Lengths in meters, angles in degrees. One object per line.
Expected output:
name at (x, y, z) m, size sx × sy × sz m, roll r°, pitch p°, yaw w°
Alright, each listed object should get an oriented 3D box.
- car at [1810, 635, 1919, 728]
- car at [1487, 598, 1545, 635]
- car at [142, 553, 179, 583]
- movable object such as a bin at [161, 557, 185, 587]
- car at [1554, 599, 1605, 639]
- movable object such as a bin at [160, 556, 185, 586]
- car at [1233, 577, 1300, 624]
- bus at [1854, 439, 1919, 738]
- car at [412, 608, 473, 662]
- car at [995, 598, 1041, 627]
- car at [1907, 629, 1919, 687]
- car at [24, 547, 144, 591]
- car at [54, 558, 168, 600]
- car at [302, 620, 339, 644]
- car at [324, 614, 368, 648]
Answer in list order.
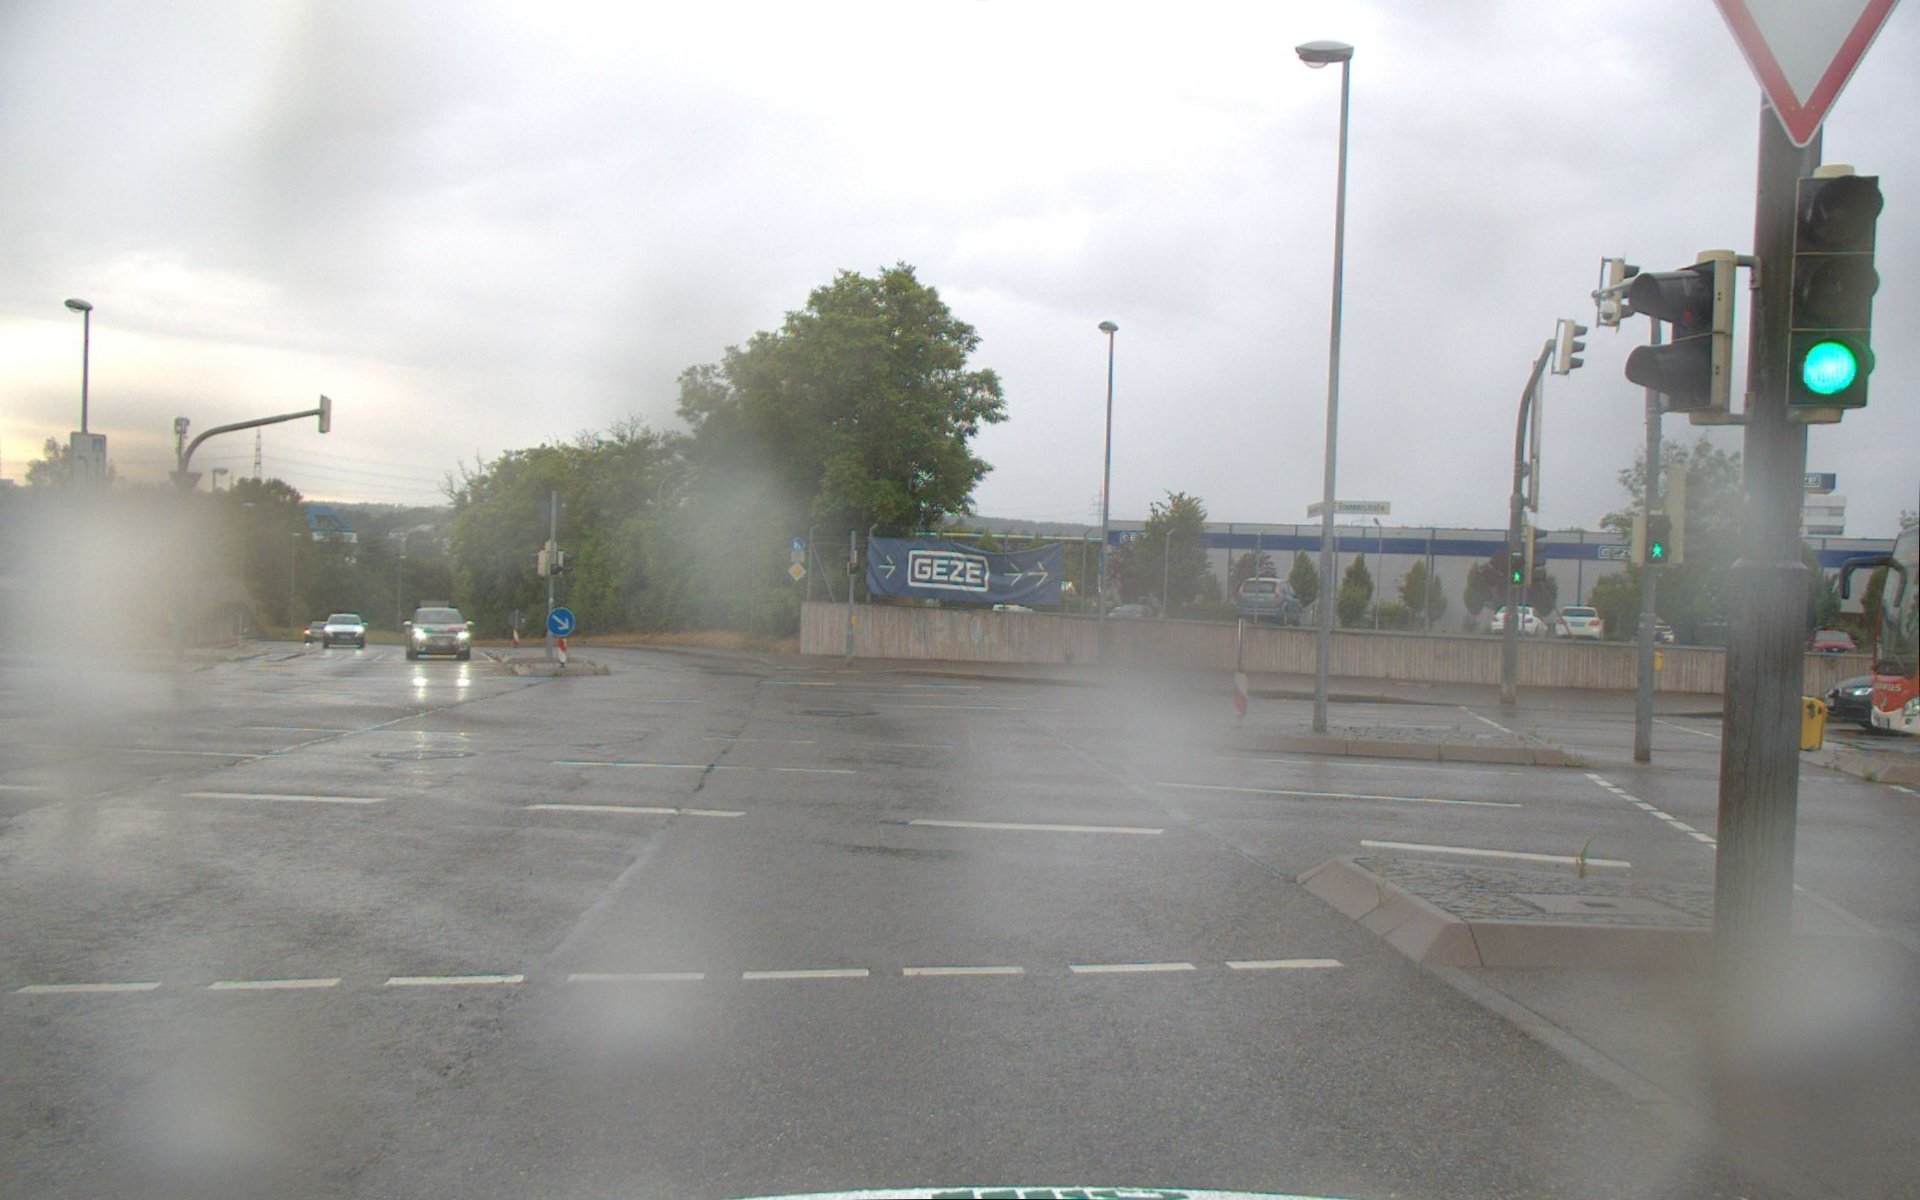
car at (16.217, 1.336, 26.532) m, size 4.286 × 1.378 × 1.827 m, roll 1°, pitch 0°, yaw 16°
car at (23.063, 0.704, 68.541) m, size 1.781 × 1.459 × 4.100 m, roll 1°, pitch -1°, yaw 25°
car at (-46.094, -1.825, 95.360) m, size 1.806 × 1.467 × 3.964 m, roll 3°, pitch -3°, yaw -27°
movable object such as a bin at (-40.936, -1.459, 86.019) m, size 1.071 × 1.462 × 1.434 m, roll 3°, pitch -3°, yaw -27°
car at (25.479, 0.784, 67.946) m, size 1.820 × 1.552 × 4.103 m, roll 1°, pitch -1°, yaw 22°
movable object such as a bin at (-41.586, -1.526, 87.322) m, size 1.071 × 1.462 × 1.434 m, roll 3°, pitch -3°, yaw -27°
car at (10.677, 0.038, 57.447) m, size 1.707 × 1.580 × 3.531 m, roll 1°, pitch -1°, yaw 20°
bus at (17.724, 0.163, 19.647) m, size 11.994 × 3.638 × 2.988 m, roll 3°, pitch 0°, yaw 17°
car at (-15.265, 1.014, 48.724) m, size 1.635 × 1.521 × 3.979 m, roll 1°, pitch -1°, yaw -18°
car at (3.381, 0.736, 95.790) m, size 1.632 × 1.634 × 3.531 m, roll 1°, pitch -1°, yaw 20°
car at (34.875, 2.079, 58.557) m, size 1.707 × 2.049 × 3.824 m, roll 1°, pitch -1°, yaw 20°
car at (-35.823, -1.262, 67.679) m, size 3.902 × 1.614 × 1.903 m, roll 1°, pitch -2°, yaw 8°
car at (-35.984, -0.894, 70.147) m, size 3.902 × 1.614 × 1.903 m, roll 1°, pitch -2°, yaw 12°
car at (-44.252, 2.197, 114.376) m, size 1.877 × 1.481 × 3.963 m, roll 1°, pitch 0°, yaw -28°
car at (-28.463, 1.427, 76.761) m, size 1.693 × 1.521 × 3.979 m, roll 1°, pitch -1°, yaw -18°
